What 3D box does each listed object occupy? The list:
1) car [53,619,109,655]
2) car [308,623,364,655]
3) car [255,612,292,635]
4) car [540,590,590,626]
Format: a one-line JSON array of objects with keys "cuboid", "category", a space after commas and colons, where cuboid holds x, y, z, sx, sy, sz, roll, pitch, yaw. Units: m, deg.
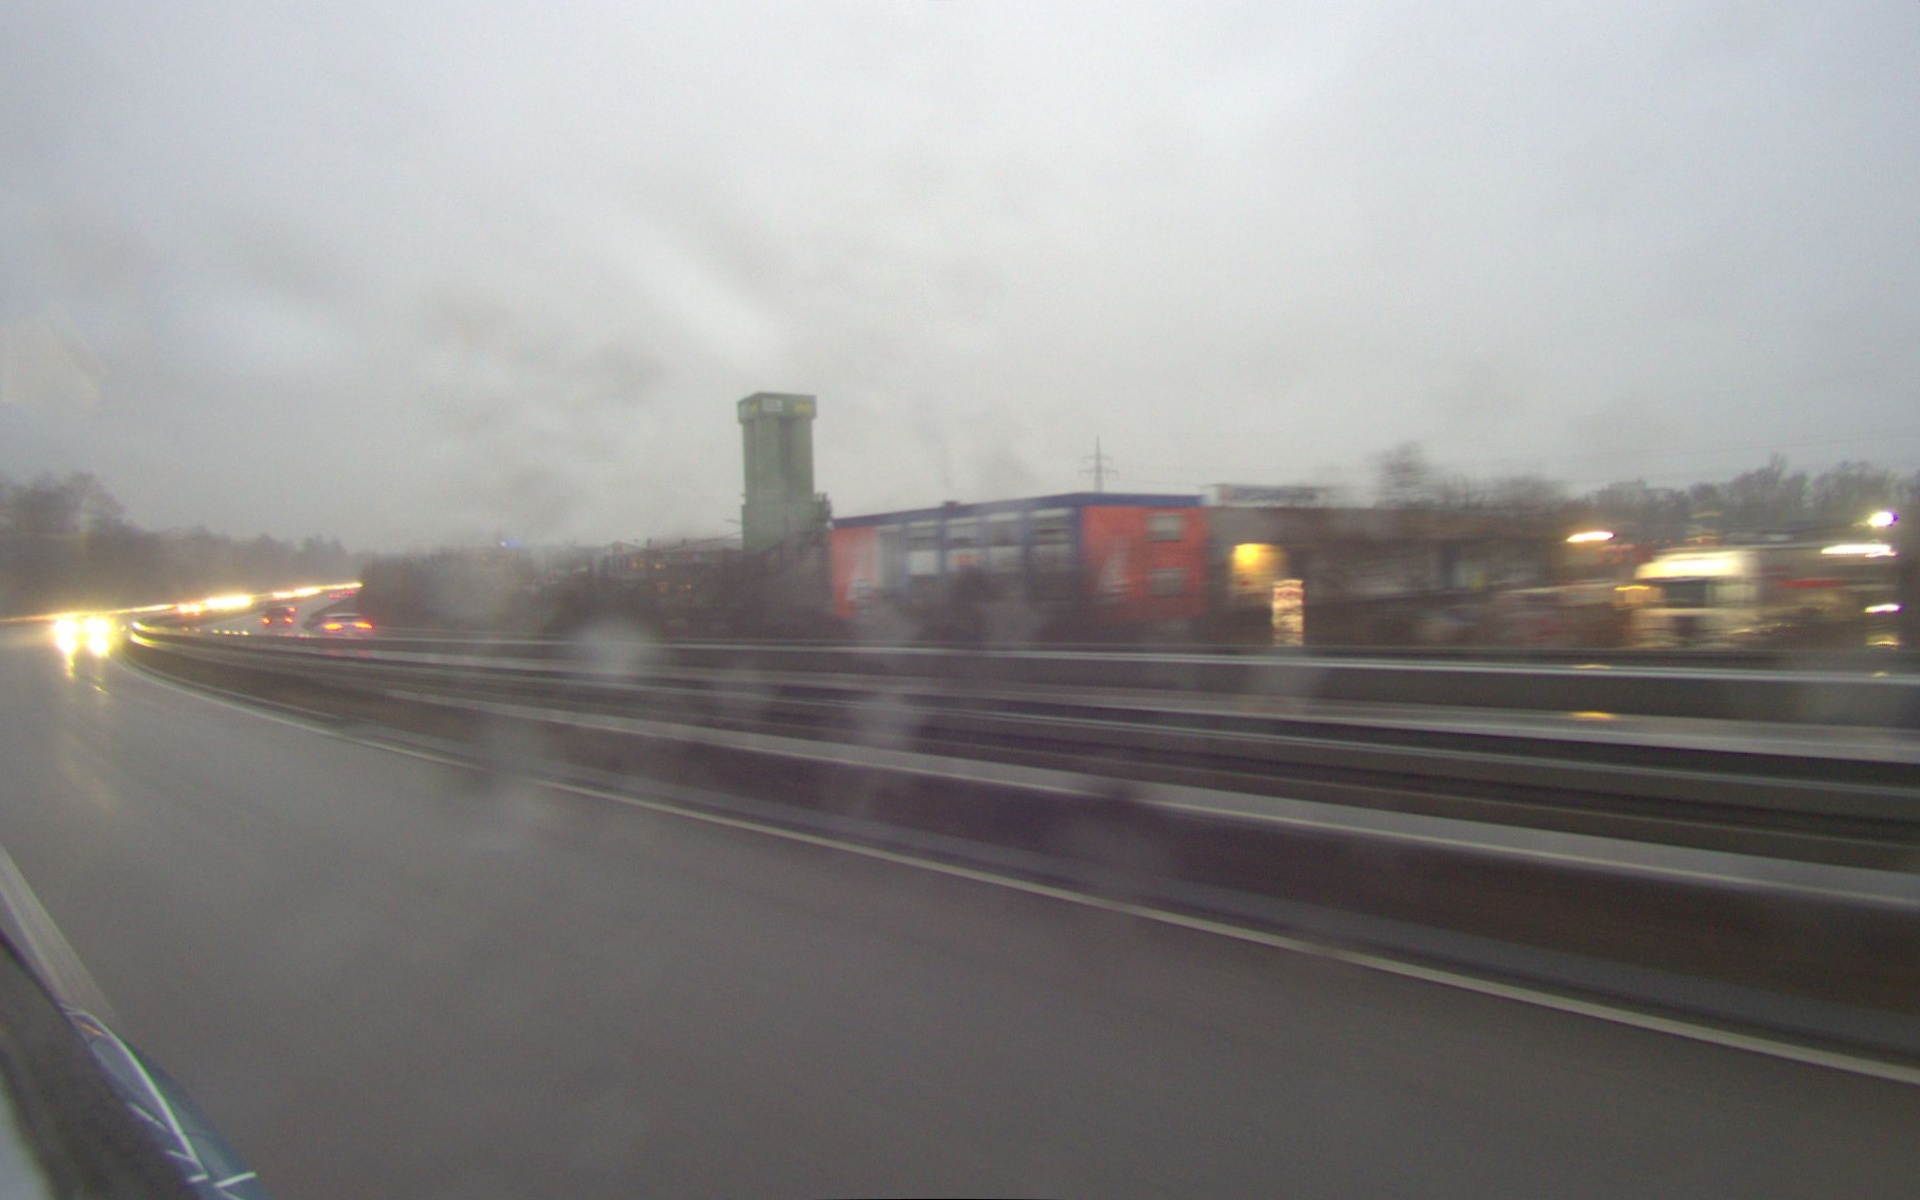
[{"cuboid": [-56.067, 2.315, 64.624, 1.966, 2.028, 4.012, -4, 2, -32], "category": "car"}, {"cuboid": [-29.754, 1.812, 48.232, 1.651, 1.431, 4.087, 0, -1, -41], "category": "car"}, {"cuboid": [-53.290, 1.829, 78.542, 1.968, 1.685, 4.436, 0, -1, -40], "category": "car"}, {"cuboid": [-37.760, 0.768, 96.504, 3.147, 3.235, 9.970, 1, -1, -28], "category": "car"}]
